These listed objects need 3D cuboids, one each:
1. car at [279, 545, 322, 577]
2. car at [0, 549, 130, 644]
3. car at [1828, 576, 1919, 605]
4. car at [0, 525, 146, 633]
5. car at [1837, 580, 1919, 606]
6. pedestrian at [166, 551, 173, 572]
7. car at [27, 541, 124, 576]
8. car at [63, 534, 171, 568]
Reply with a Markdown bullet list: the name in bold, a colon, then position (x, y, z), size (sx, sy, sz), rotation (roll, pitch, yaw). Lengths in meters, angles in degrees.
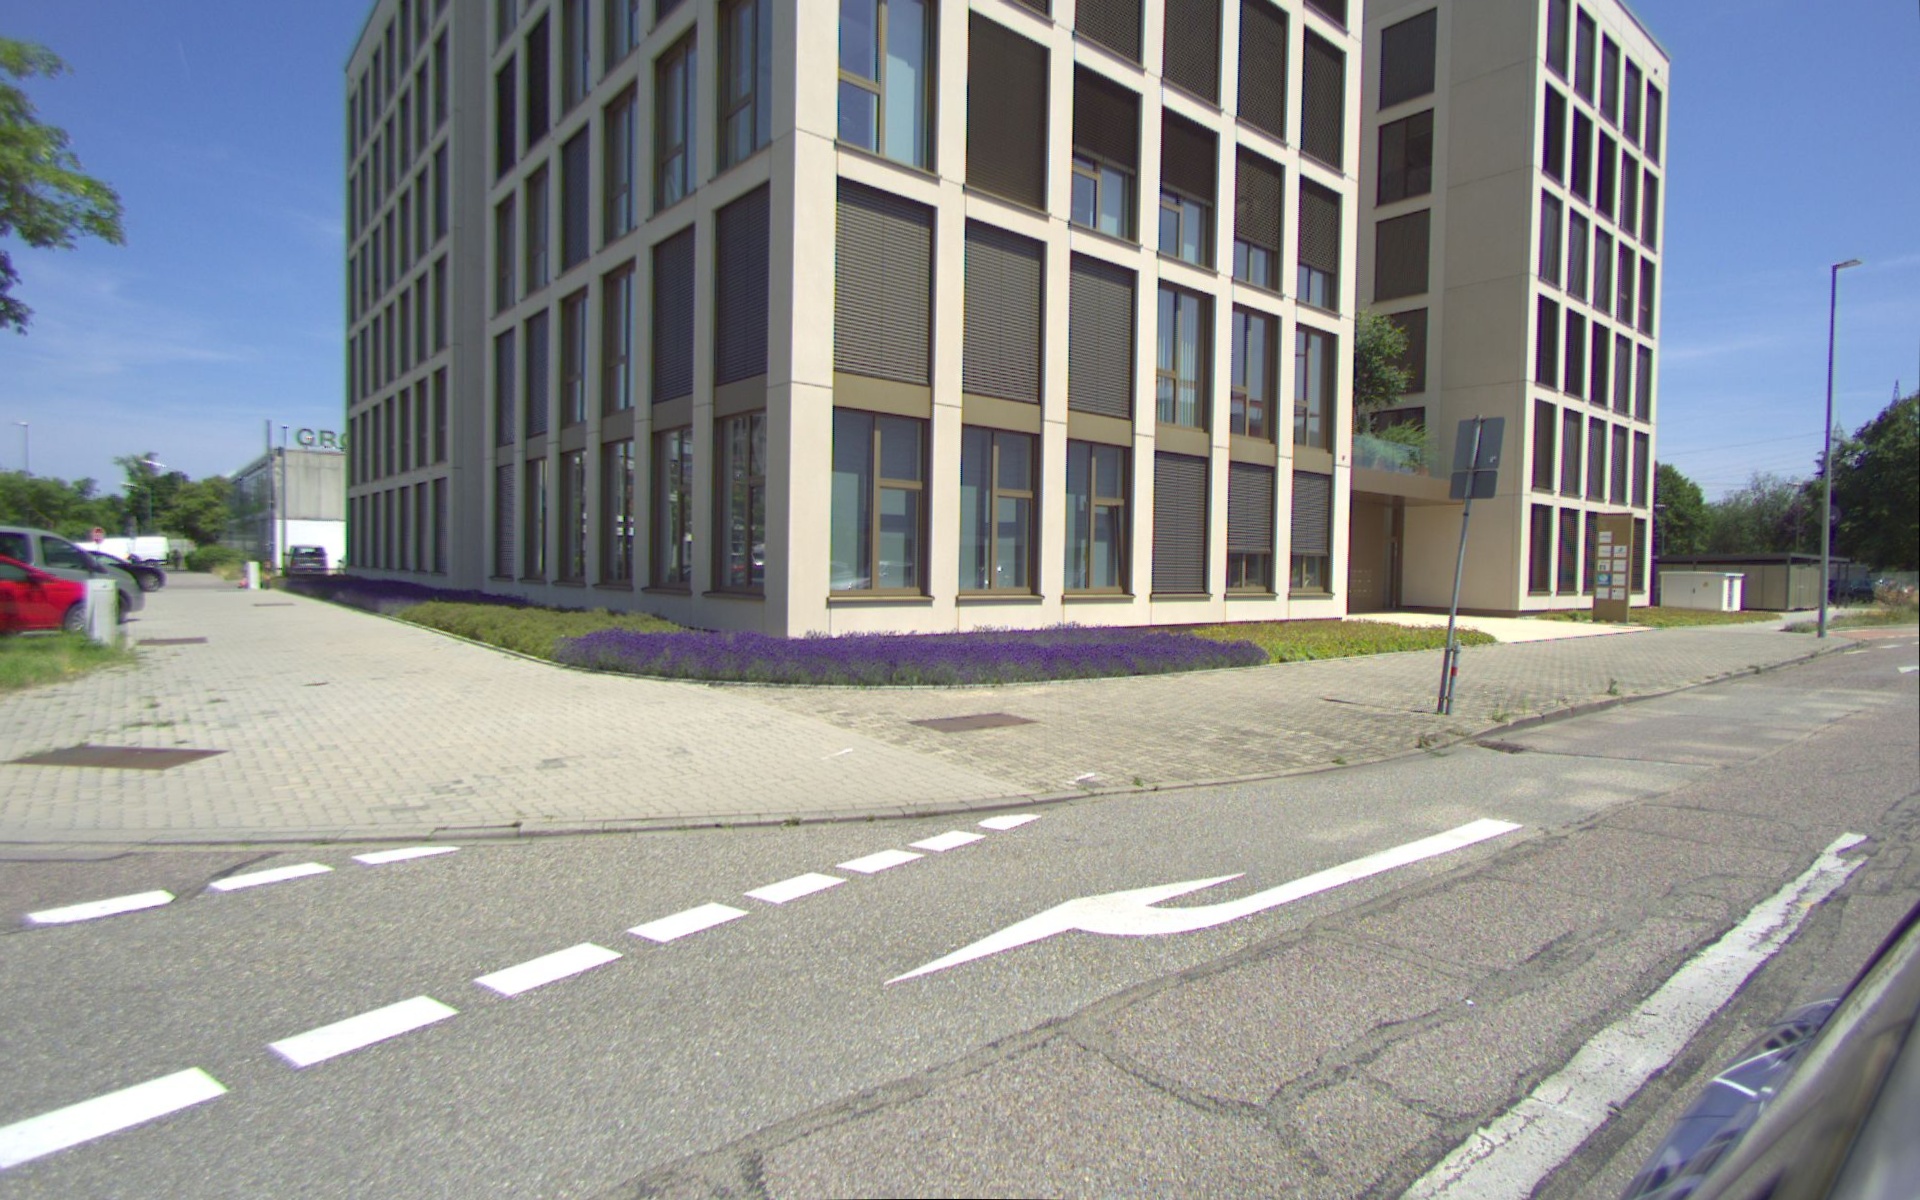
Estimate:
- **car**: position (-38.135, -2.231, 58.481), size (1.763, 1.749, 3.997), rotation (0, 0, -38)
- **car**: position (-15.443, -0.061, 15.593), size (1.672, 1.449, 3.990), rotation (1, 3, 10)
- **car**: position (53.704, -0.568, 59.527), size (3.810, 1.571, 1.716), rotation (2, 2, 36)
- **car**: position (-17.906, -0.401, 18.471), size (1.886, 1.910, 4.927), rotation (1, 1, 5)
- **car**: position (55.311, -0.445, 60.740), size (3.810, 1.411, 1.716), rotation (2, 2, 36)
- **pedestrian**: position (-59.734, -2.926, 76.452), size (0.397, 1.579, 0.549), rotation (0, 2, -39)
- **car**: position (-55.160, -2.549, 63.225), size (4.495, 2.039, 1.997), rotation (-1, 0, -40)
- **car**: position (-67.726, -3.869, 81.485), size (6.573, 2.552, 2.217), rotation (-1, 0, -38)
